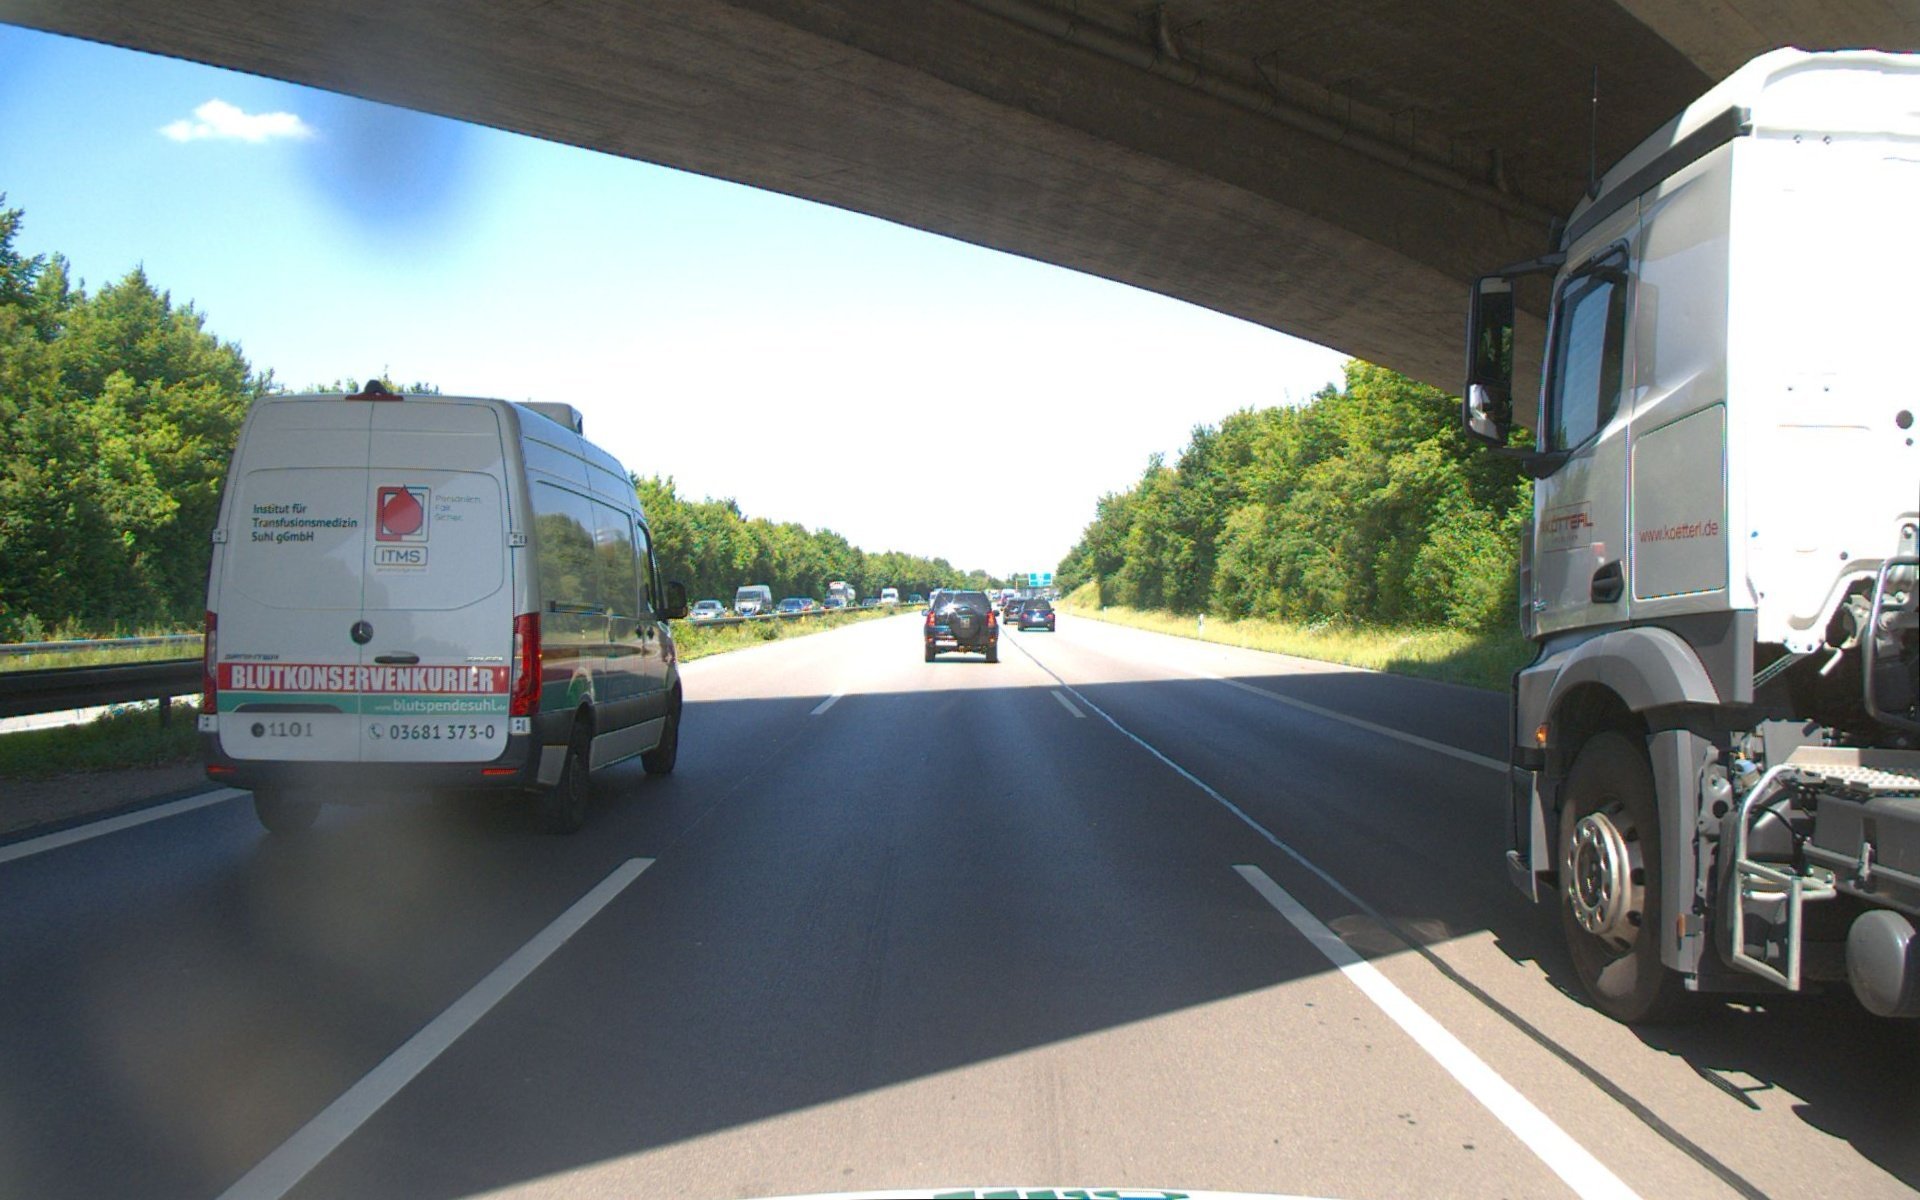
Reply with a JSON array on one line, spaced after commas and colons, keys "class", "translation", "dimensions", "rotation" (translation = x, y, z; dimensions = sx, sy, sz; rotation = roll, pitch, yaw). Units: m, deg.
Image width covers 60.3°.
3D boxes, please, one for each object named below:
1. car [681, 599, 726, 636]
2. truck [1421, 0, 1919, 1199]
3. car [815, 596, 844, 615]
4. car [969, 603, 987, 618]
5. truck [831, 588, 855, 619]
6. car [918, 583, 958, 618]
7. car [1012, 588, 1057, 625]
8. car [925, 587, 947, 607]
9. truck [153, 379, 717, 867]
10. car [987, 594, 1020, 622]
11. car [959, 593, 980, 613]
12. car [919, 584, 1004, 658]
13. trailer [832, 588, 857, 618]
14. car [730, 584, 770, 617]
[{"class": "car", "translation": [-15.467, 1.074, 100.034], "dimensions": [1.953, 2.133, 5.248], "rotation": [0, -1, 0]}, {"class": "truck", "translation": [3.575, -0.278, 4.827], "dimensions": [2.584, 3.434, 6.486], "rotation": [1, 0, -1]}, {"class": "car", "translation": [-11.093, 0.458, 140.897], "dimensions": [1.952, 1.636, 4.649], "rotation": [-1, 0, 2]}, {"class": "car", "translation": [2.184, 1.282, 200.845], "dimensions": [1.953, 1.780, 4.203], "rotation": [-1, 0, -2]}, {"class": "truck", "translation": [-15.916, 0.478, 225.381], "dimensions": [2.676, 3.950, 6.321], "rotation": [-3, 0, -1]}, {"class": "car", "translation": [-1.098, 0.027, 84.438], "dimensions": [1.953, 1.736, 4.335], "rotation": [-1, 0, -1]}, {"class": "car", "translation": [3.535, 0.352, 79.227], "dimensions": [1.953, 1.713, 3.999], "rotation": [0, -1, 0]}, {"class": "car", "translation": [-2.549, -0.356, 176.252], "dimensions": [1.952, 2.049, 4.951], "rotation": [-1, 0, 2]}, {"class": "truck", "translation": [-3.316, 0.110, 12.238], "dimensions": [1.952, 2.587, 6.692], "rotation": [1, 0, 0]}, {"class": "car", "translation": [2.608, 0.483, 99.565], "dimensions": [1.805, 1.640, 3.999], "rotation": [0, -1, -1]}, {"class": "car", "translation": [0.918, 0.289, 167.011], "dimensions": [1.953, 2.049, 4.766], "rotation": [-1, 0, -1]}, {"class": "car", "translation": [-0.011, 0.509, 39.965], "dimensions": [1.868, 1.694, 3.997], "rotation": [0, -1, -3]}, {"class": "trailer", "translation": [-16.019, 0.466, 230.604], "dimensions": [2.710, 3.950, 9.456], "rotation": [-3, 0, 0]}, {"class": "car", "translation": [-14.875, 0.082, 117.494], "dimensions": [1.953, 2.274, 6.517], "rotation": [0, -1, 0]}]
